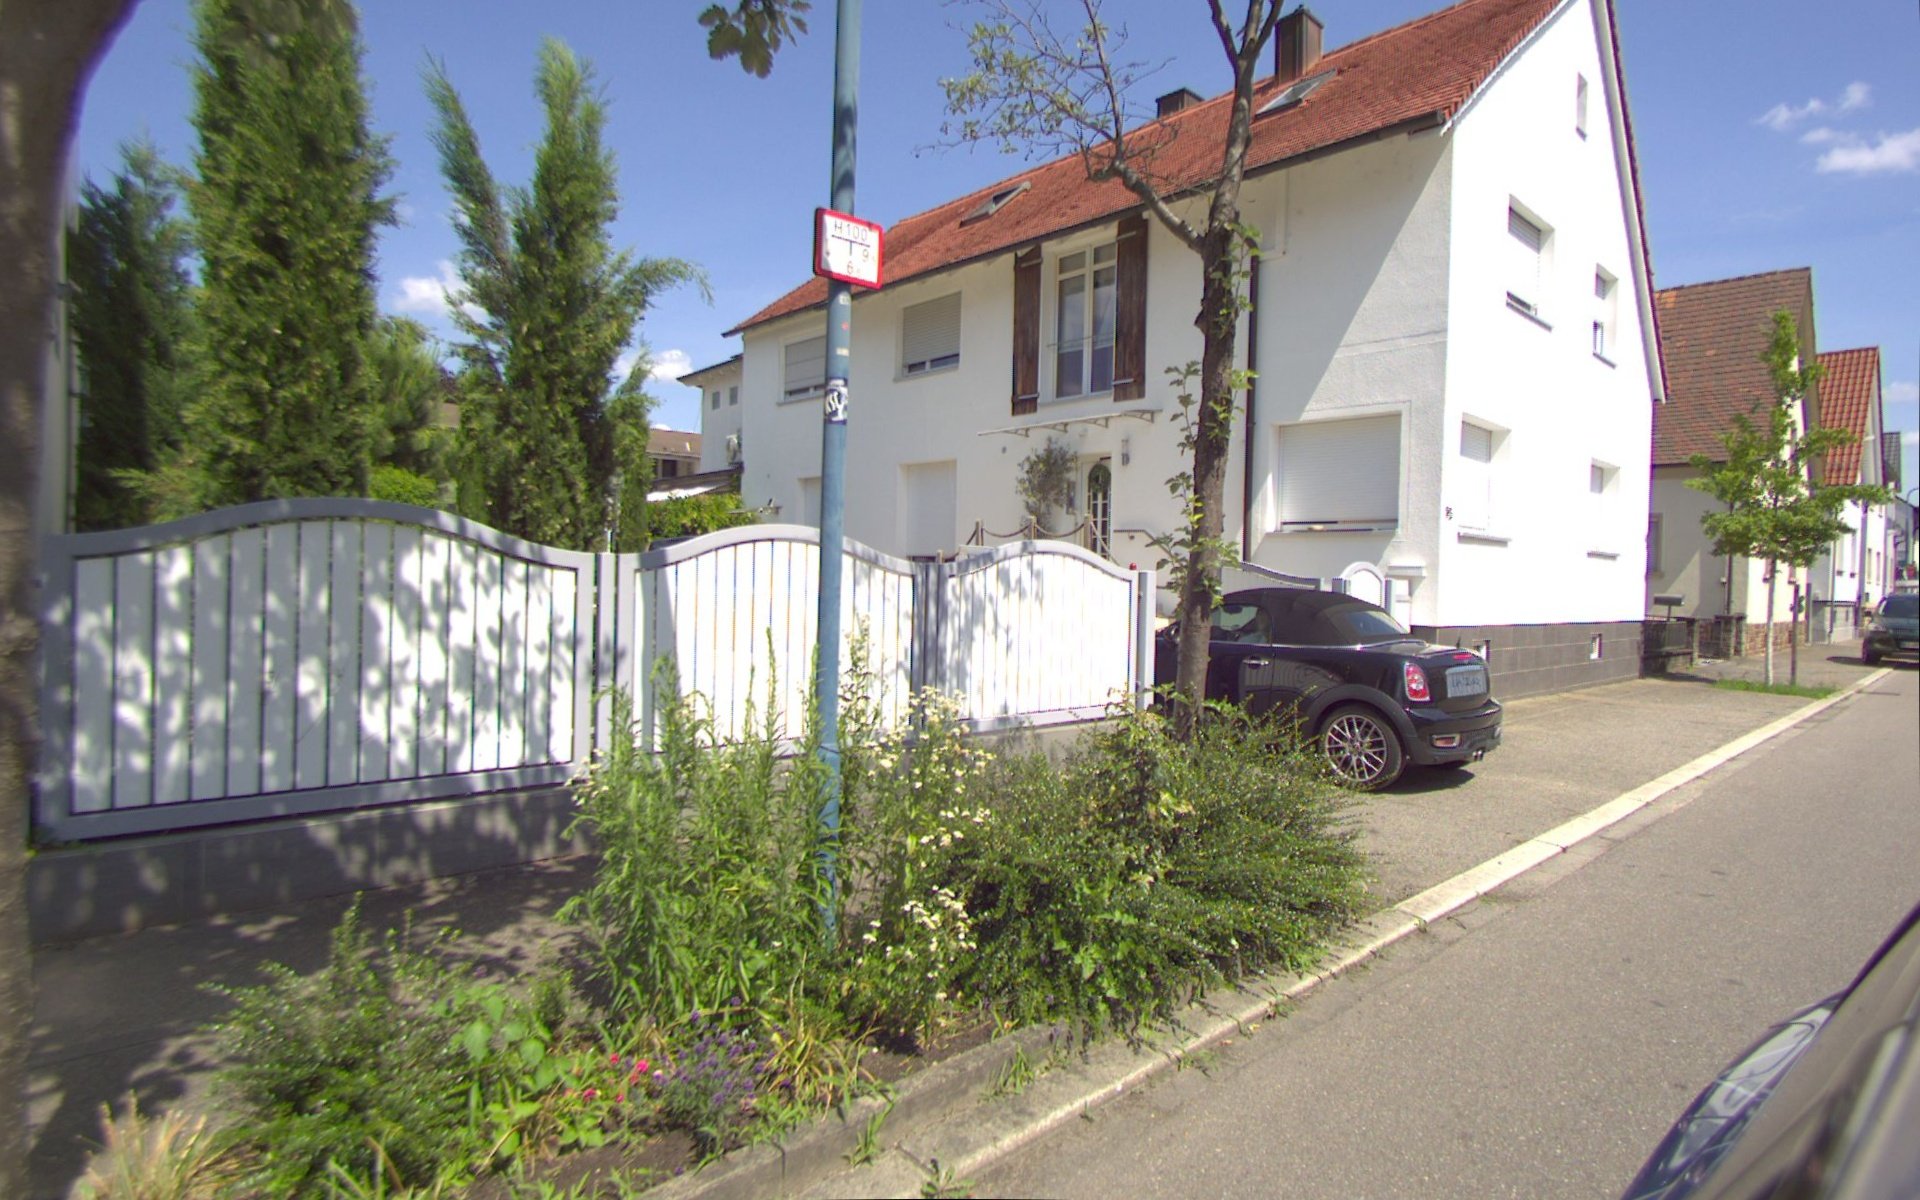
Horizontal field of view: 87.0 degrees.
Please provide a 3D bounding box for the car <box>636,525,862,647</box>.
[{"bbox_3d":[-3.513,-0.259,16.391,1.852,1.725,3.928,0,2,-42],"label":"car"}]

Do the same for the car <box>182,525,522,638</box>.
[{"bbox_3d":[-8.577,-0.262,14.553,3.856,1.453,1.655,1,1,-6],"label":"car"}]

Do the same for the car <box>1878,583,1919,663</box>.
[{"bbox_3d":[22.568,0.497,23.467,1.729,1.738,4.207,2,1,44],"label":"car"}]

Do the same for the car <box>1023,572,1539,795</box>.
[{"bbox_3d":[2.546,0.511,8.745,1.710,1.432,3.928,0,2,-42],"label":"car"}]
